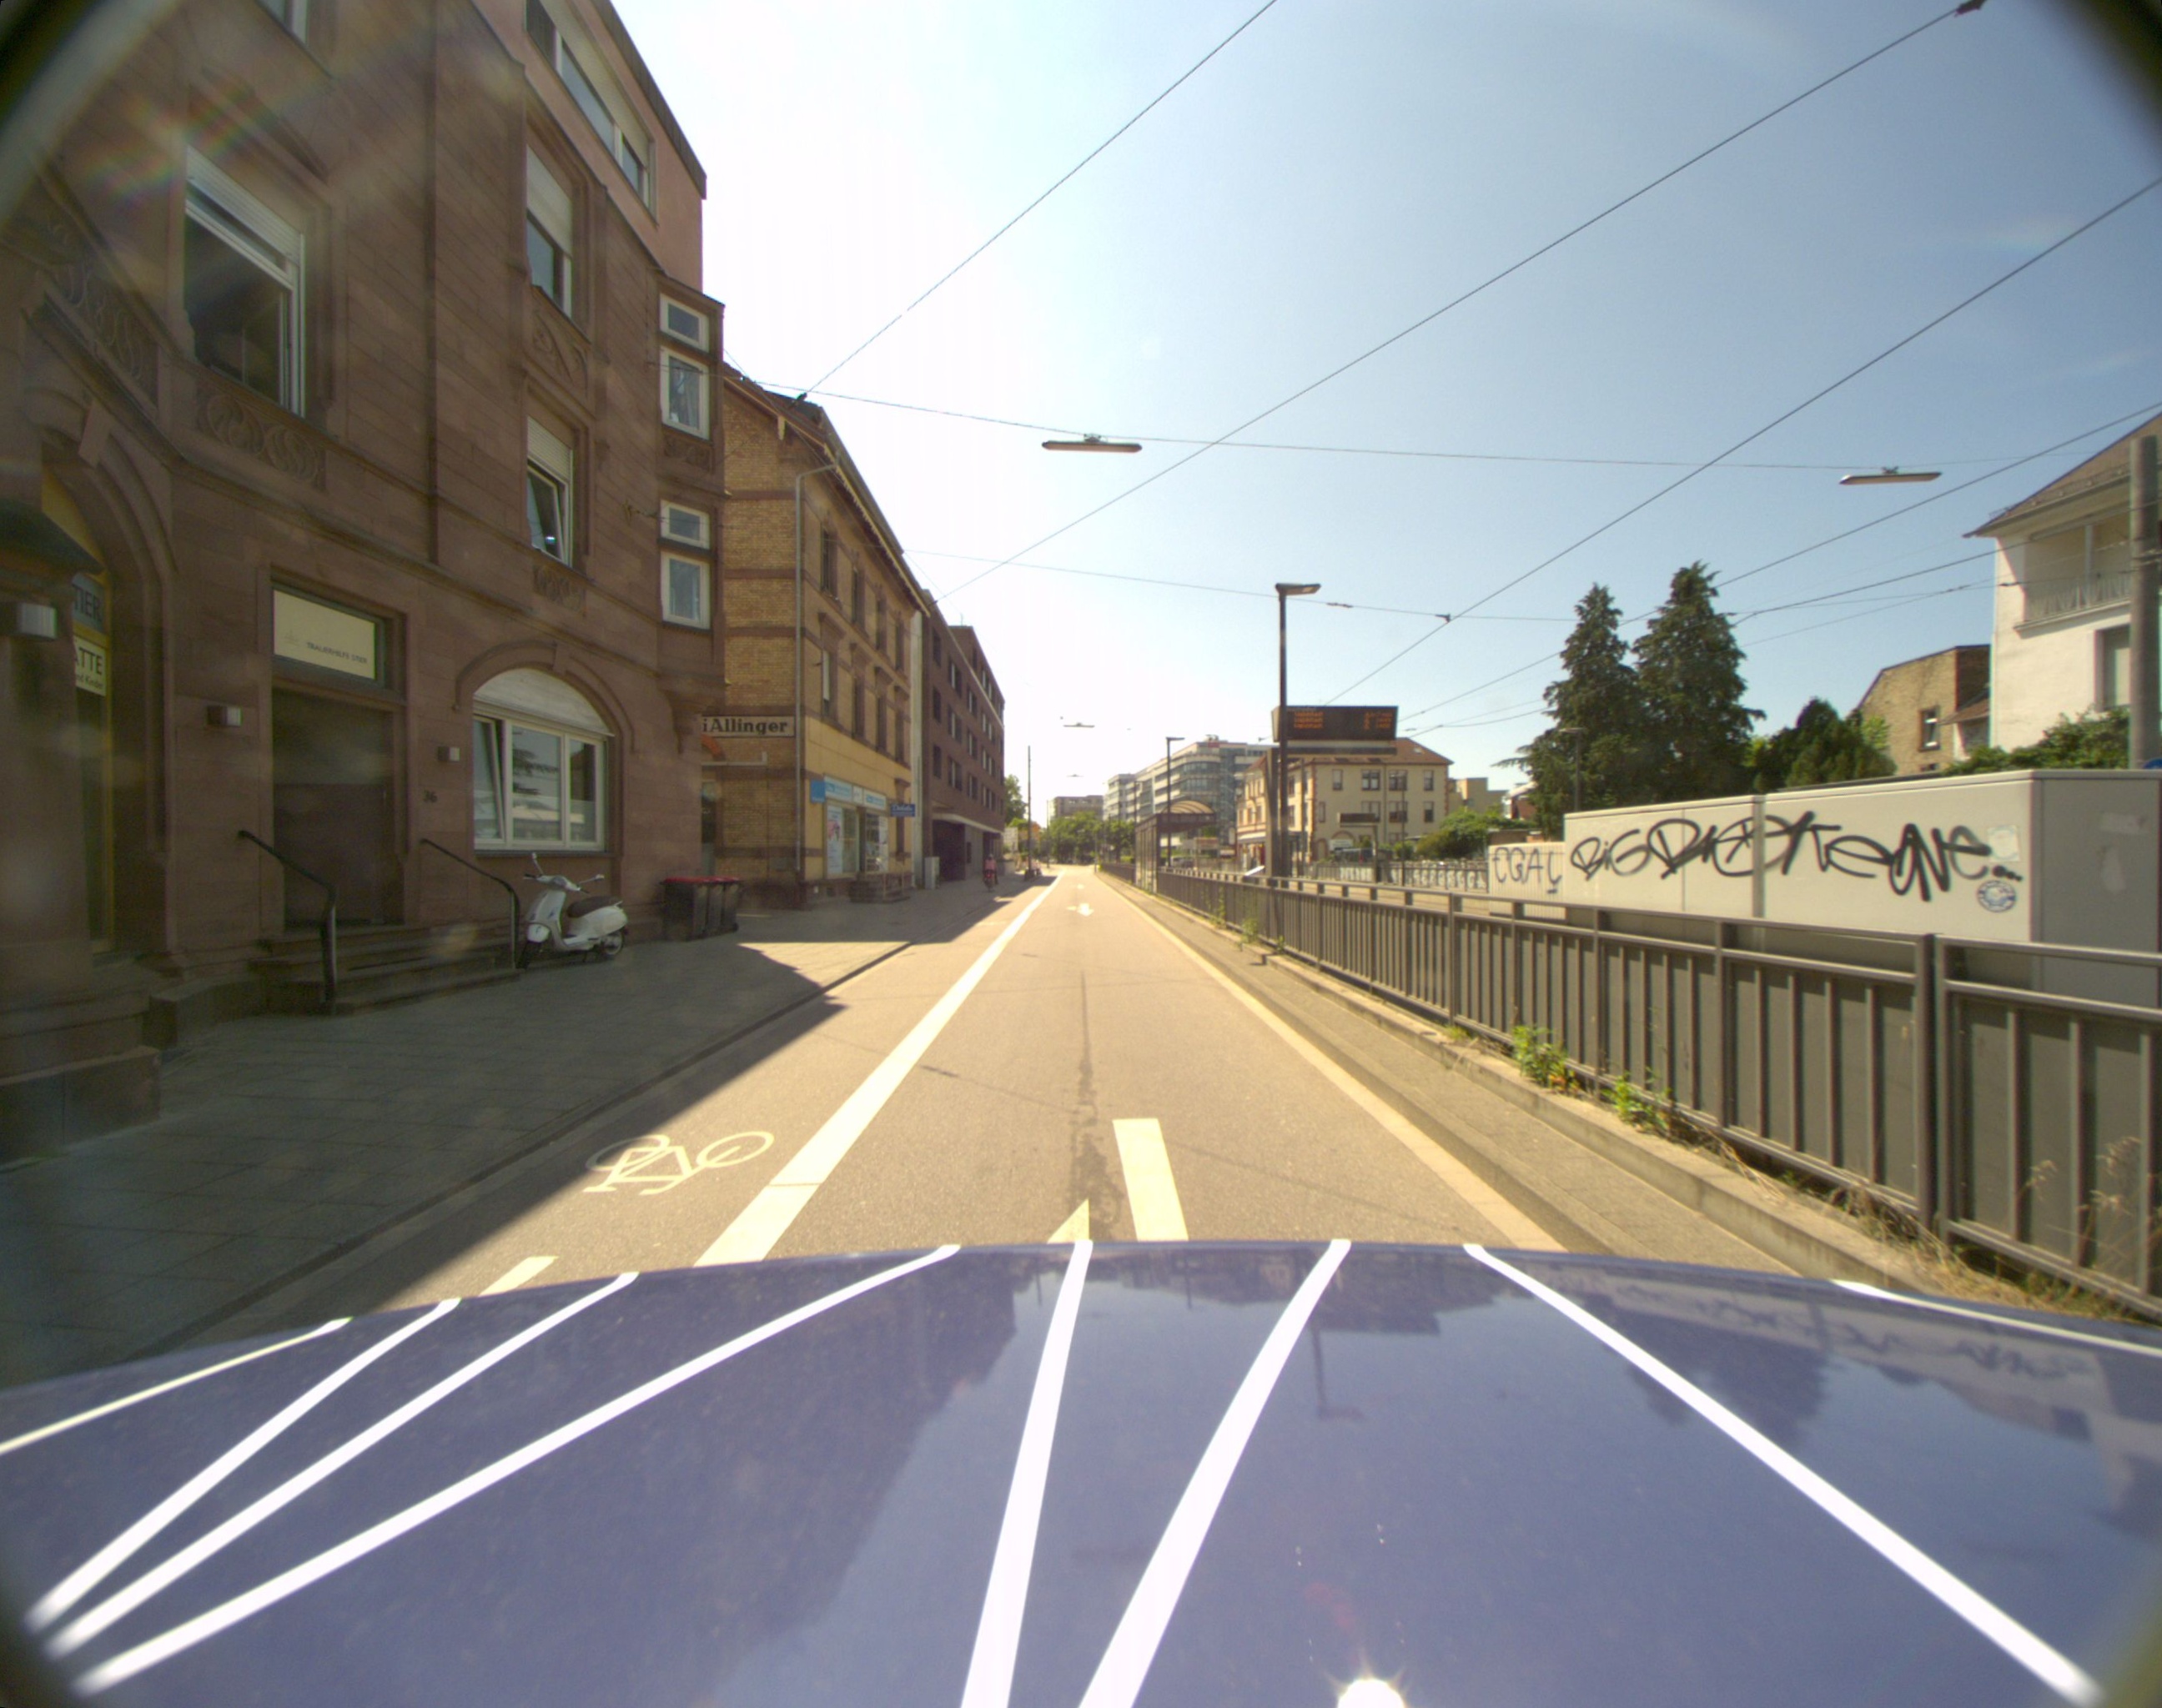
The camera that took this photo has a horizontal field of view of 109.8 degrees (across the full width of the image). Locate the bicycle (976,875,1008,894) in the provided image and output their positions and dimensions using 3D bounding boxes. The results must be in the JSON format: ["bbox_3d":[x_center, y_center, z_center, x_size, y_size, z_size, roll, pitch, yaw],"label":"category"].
[{"bbox_3d":[-4.071,1.386,34.809,0.689,0.793,1.911,-1,0,20],"label":"bicycle"}]

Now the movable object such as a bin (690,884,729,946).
[{"bbox_3d":[-6.524,1.063,13.360,0.376,1.042,0.559,2,0,0],"label":"movable object such as a bin"}]

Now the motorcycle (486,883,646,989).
[{"bbox_3d":[-6.439,0.973,9.640,0.527,1.142,1.881,0,0,8],"label":"motorcycle"}]

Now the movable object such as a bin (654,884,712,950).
[{"bbox_3d":[-6.684,1.045,12.777,0.649,1.042,0.559,2,0,-1],"label":"movable object such as a bin"}]

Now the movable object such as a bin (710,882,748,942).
[{"bbox_3d":[-6.472,1.053,13.996,0.376,1.042,0.657,2,0,0],"label":"movable object such as a bin"}]

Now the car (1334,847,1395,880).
[{"bbox_3d":[16.539,0.512,44.537,1.999,1.827,3.999,-1,0,-1],"label":"car"}]

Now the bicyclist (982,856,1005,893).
[{"bbox_3d":[-4.022,0.932,34.924,0.670,1.712,0.930,0,0,20],"label":"bicyclist"}]
